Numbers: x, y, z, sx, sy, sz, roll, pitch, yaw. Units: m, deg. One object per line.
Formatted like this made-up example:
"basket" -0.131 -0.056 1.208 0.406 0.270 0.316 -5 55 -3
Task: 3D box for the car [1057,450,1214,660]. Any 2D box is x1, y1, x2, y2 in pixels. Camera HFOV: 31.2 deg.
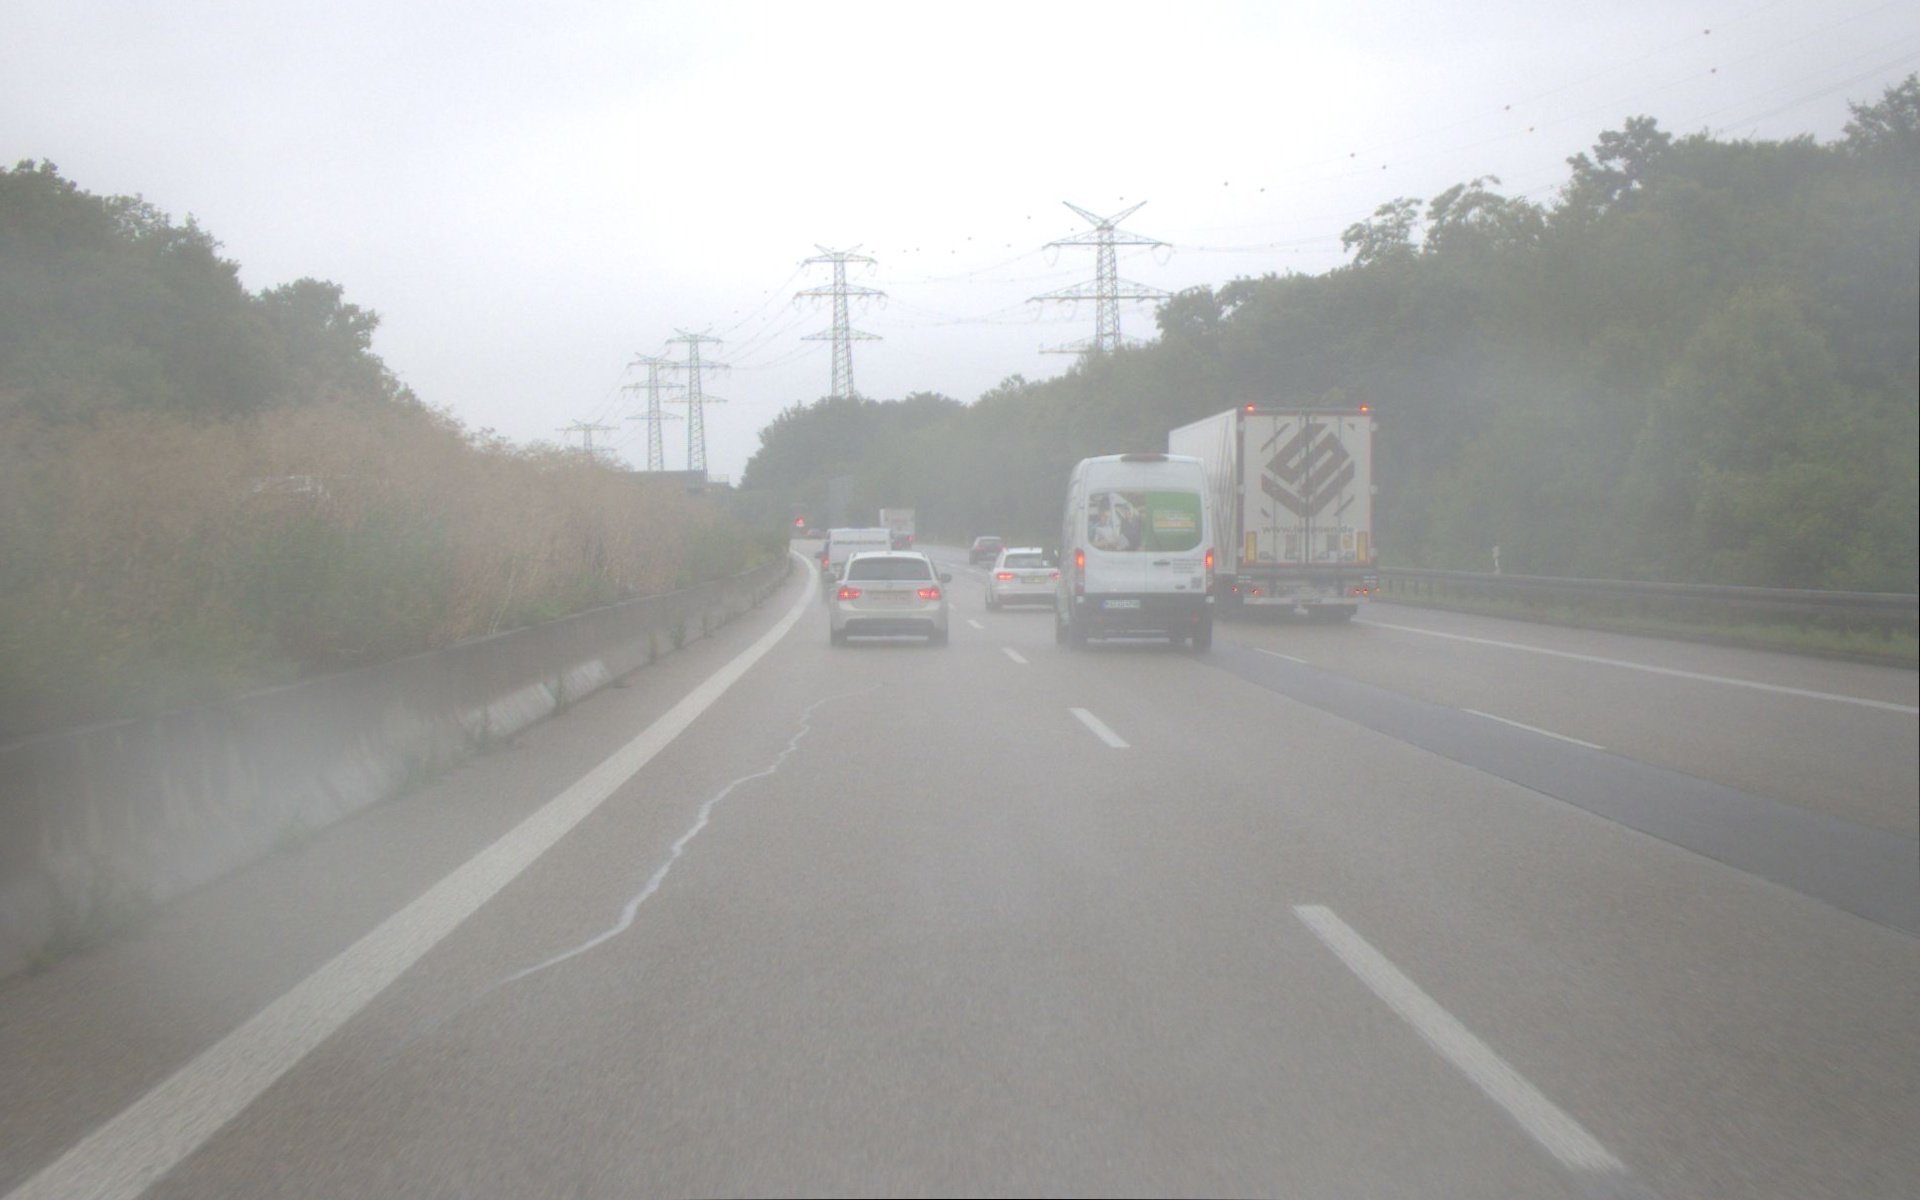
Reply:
"car" 2.476 -0.657 49.393 1.993 2.854 4.000 -1 1 0

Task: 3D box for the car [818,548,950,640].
"car" -1.116 -0.118 52.151 1.866 1.284 4.000 -1 1 0

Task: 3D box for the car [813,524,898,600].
"car" -2.510 -0.942 83.484 1.846 1.766 4.000 -1 1 1

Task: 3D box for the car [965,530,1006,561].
"car" 1.316 -2.782 175.517 1.993 1.481 4.000 -3 0 1

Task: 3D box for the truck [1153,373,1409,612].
"truck" 6.227 -2.039 69.311 3.603 4.317 13.200 -1 1 -1

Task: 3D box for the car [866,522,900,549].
"car" -4.929 -4.115 219.810 1.993 1.568 4.000 -2 0 1

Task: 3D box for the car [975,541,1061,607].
"car" 1.313 -0.590 76.337 1.857 1.418 4.000 0 1 2
